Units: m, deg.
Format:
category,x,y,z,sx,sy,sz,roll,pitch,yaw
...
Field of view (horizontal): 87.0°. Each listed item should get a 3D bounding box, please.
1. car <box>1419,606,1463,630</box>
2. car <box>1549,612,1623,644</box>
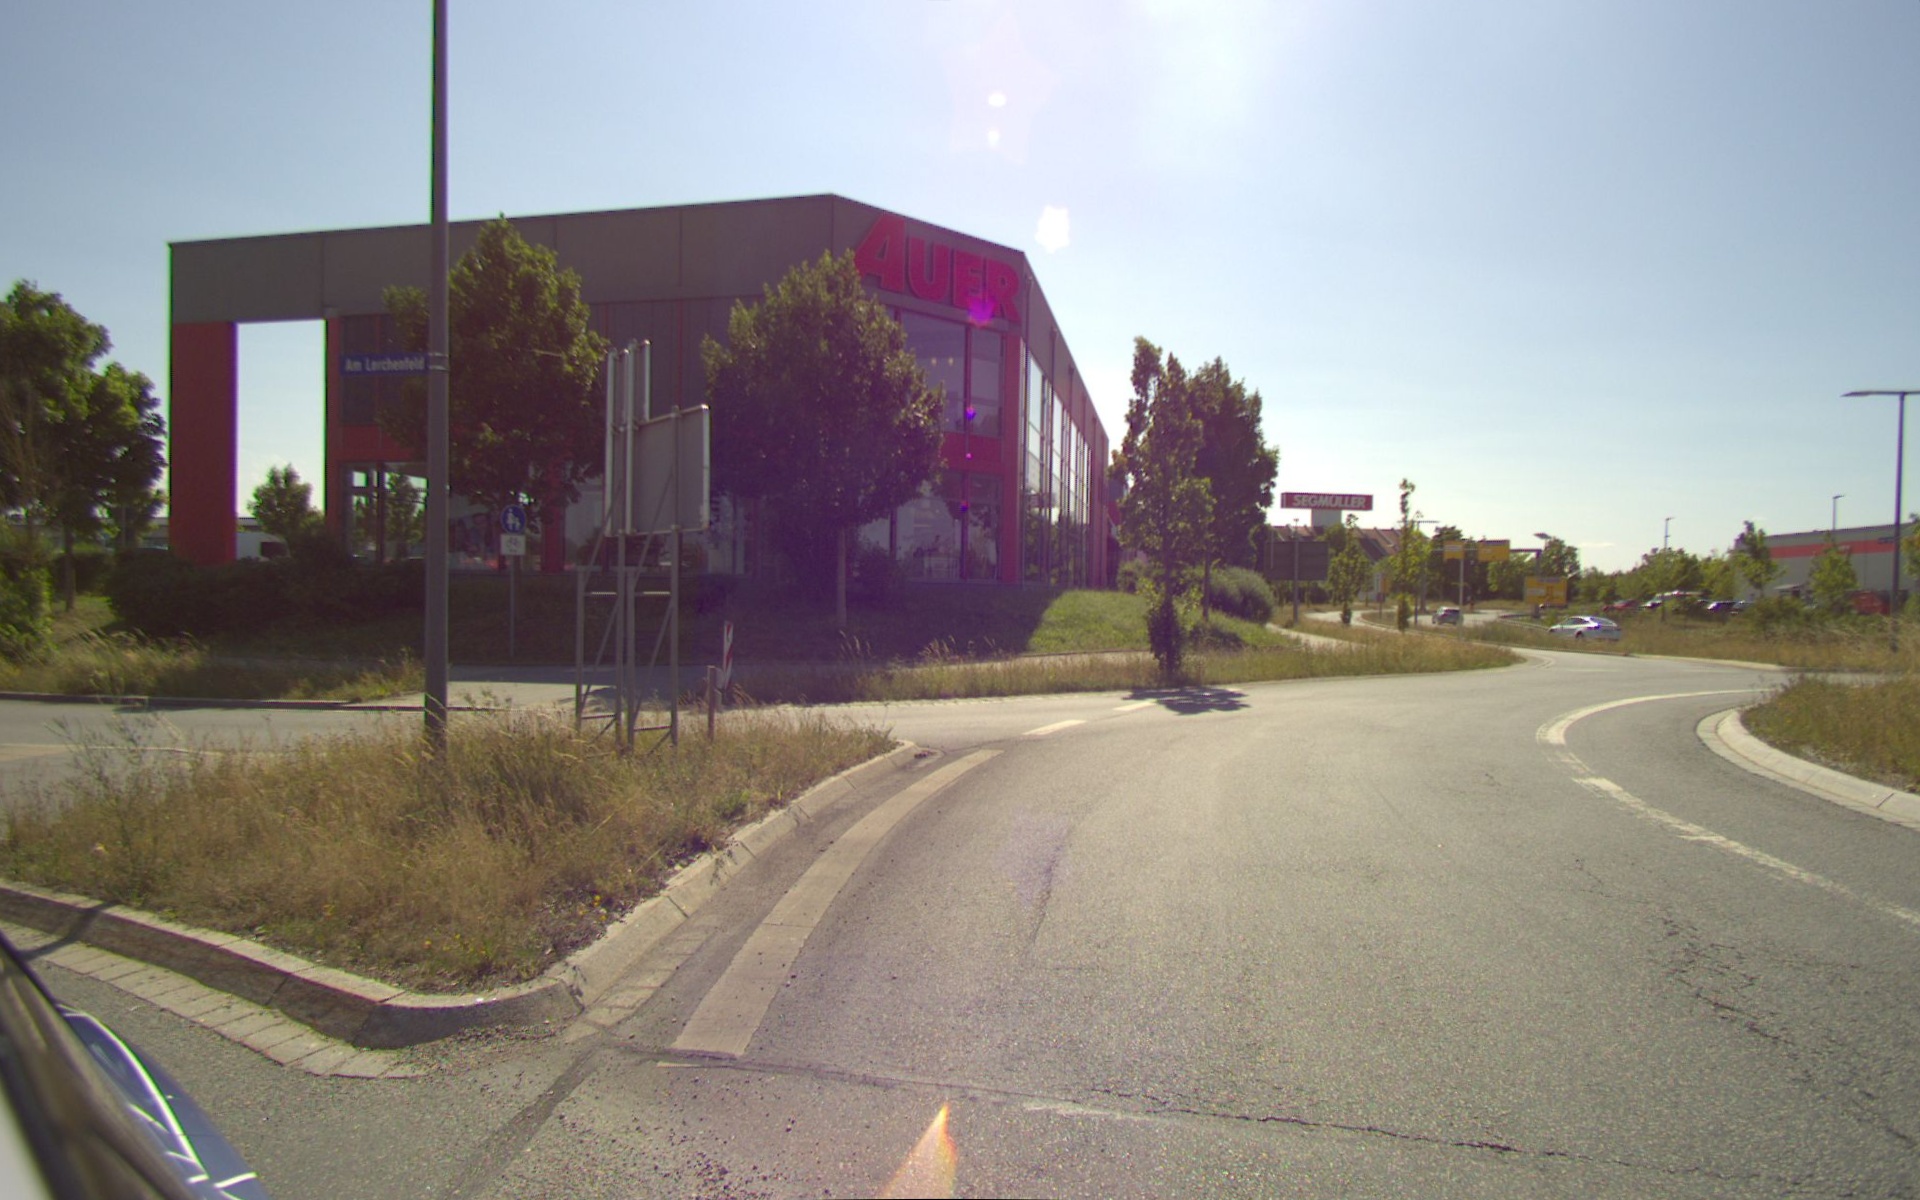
category,x,y,z,sx,sy,sz,roll,pitch,yaw
car,38.307,1.392,80.645,1.668,1.786,3.768,1,0,-1
car,34.067,1.476,55.187,1.706,1.586,4.270,0,0,6
